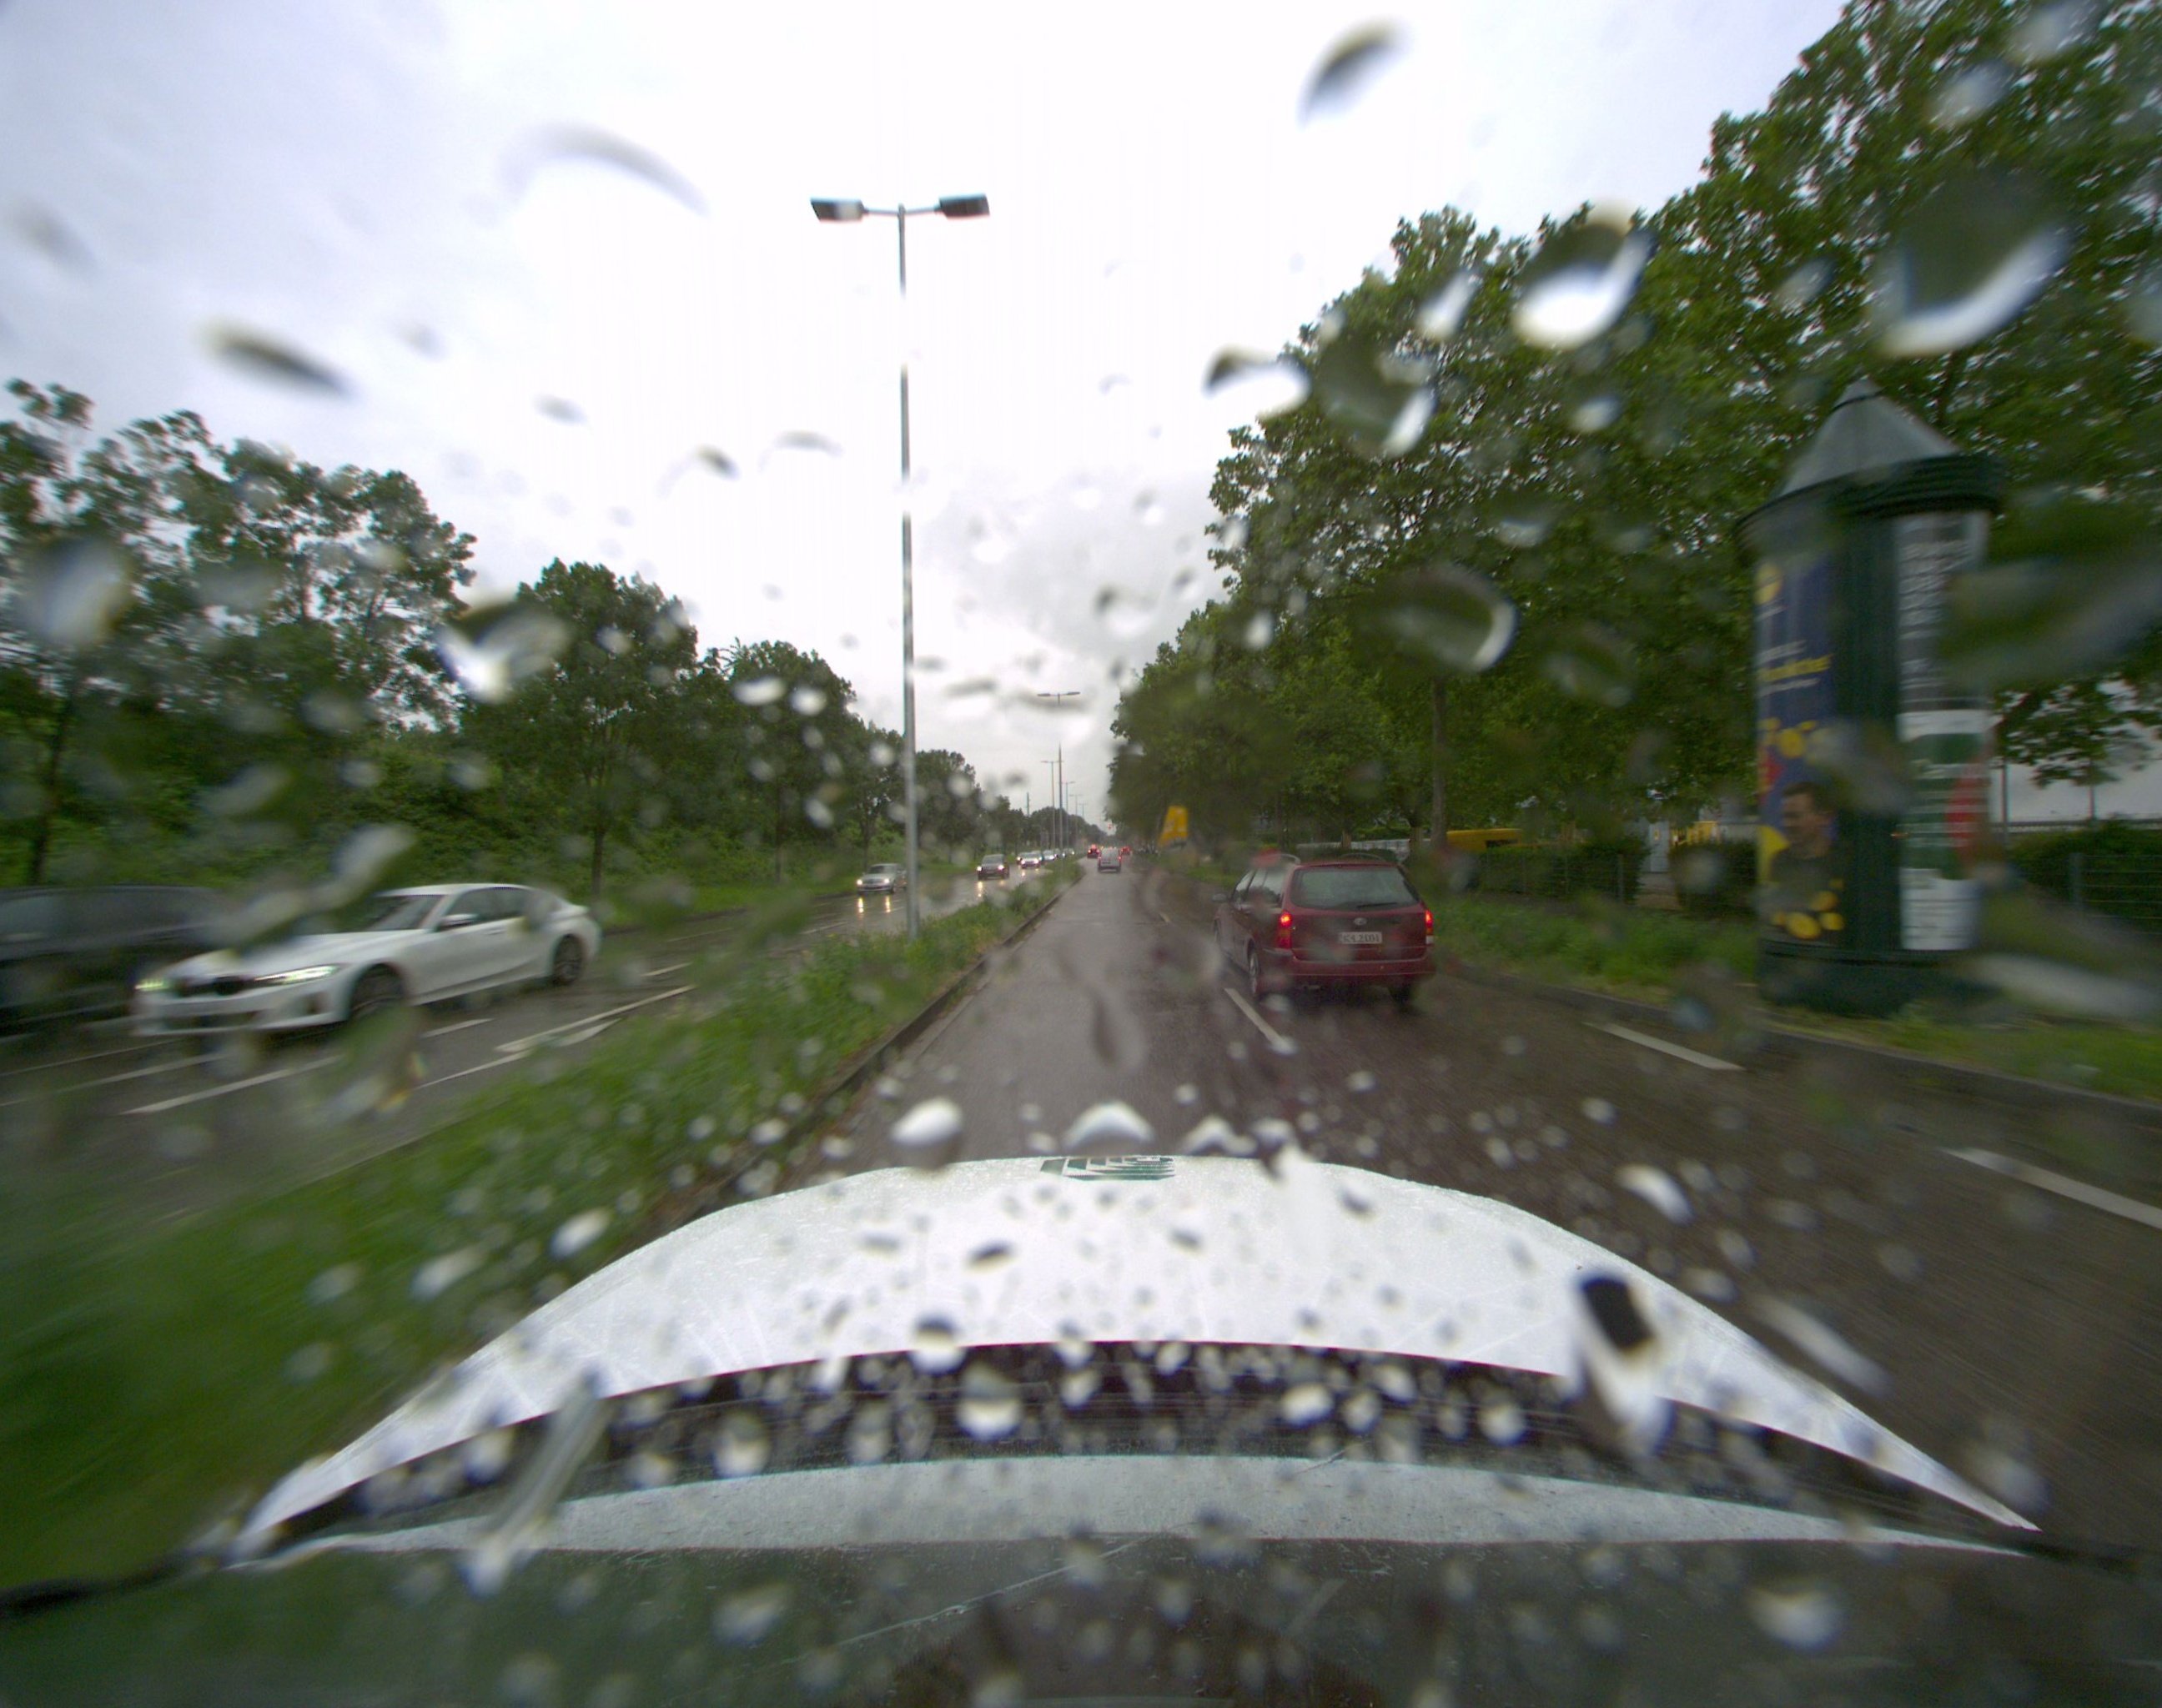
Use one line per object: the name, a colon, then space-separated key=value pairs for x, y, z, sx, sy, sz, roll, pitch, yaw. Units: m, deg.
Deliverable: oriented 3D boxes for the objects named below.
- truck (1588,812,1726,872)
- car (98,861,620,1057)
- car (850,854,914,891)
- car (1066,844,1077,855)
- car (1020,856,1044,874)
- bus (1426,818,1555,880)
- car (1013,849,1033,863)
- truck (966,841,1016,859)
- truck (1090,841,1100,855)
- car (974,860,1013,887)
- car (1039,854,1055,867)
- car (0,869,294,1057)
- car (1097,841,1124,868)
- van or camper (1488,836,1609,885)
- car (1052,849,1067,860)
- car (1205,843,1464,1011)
truck: x=31.958 y=-0.592 z=45.016 sx=9.539 sy=3.032 sz=3.049 roll=0 pitch=-1 yaw=-34
car: x=-7.915 y=0.978 z=9.779 sx=1.891 sy=1.613 sz=4.713 roll=-4 pitch=0 yaw=1
car: x=-9.710 y=0.874 z=40.086 sx=1.892 sy=1.613 sz=4.478 roll=-2 pitch=0 yaw=1
car: x=-1.769 y=-0.843 z=156.412 sx=1.817 sy=1.573 sz=4.365 roll=5 pitch=6 yaw=2
car: x=-4.790 y=1.067 z=80.098 sx=1.891 sy=1.613 sz=4.112 roll=-2 pitch=0 yaw=1
bus: x=18.203 y=-0.228 z=36.367 sx=4.773 sy=2.647 sz=2.001 roll=-1 pitch=0 yaw=2
car: x=-7.306 y=0.234 z=102.807 sx=1.986 sy=1.687 sz=4.712 roll=-3 pitch=0 yaw=2
truck: x=-18.419 y=-0.753 z=166.382 sx=10.183 sy=3.452 sz=2.630 roll=0 pitch=-1 yaw=-35
truck: x=2.423 y=-1.034 z=140.149 sx=1.750 sy=2.466 sz=4.000 roll=0 pitch=0 yaw=1
car: x=-5.869 y=1.293 z=55.308 sx=1.890 sy=1.613 sz=4.115 roll=-4 pitch=0 yaw=3
car: x=-4.262 y=0.794 z=102.594 sx=1.904 sy=1.574 sz=4.704 roll=-3 pitch=0 yaw=-3
car: x=-10.911 y=1.064 z=7.832 sx=2.030 sy=1.660 sz=4.679 roll=-2 pitch=0 yaw=1
car: x=2.239 y=0.048 z=62.955 sx=1.987 sy=2.014 sz=4.000 roll=-1 pitch=-1 yaw=1
van or camper: x=19.057 y=0.256 z=33.324 sx=3.977 sy=1.907 sz=1.800 roll=-1 pitch=0 yaw=-3
car: x=-3.331 y=0.073 z=128.807 sx=1.901 sy=1.574 sz=4.712 roll=-4 pitch=0 yaw=2
car: x=2.645 y=0.665 z=9.538 sx=1.832 sy=1.536 sz=4.112 roll=0 pitch=0 yaw=1
